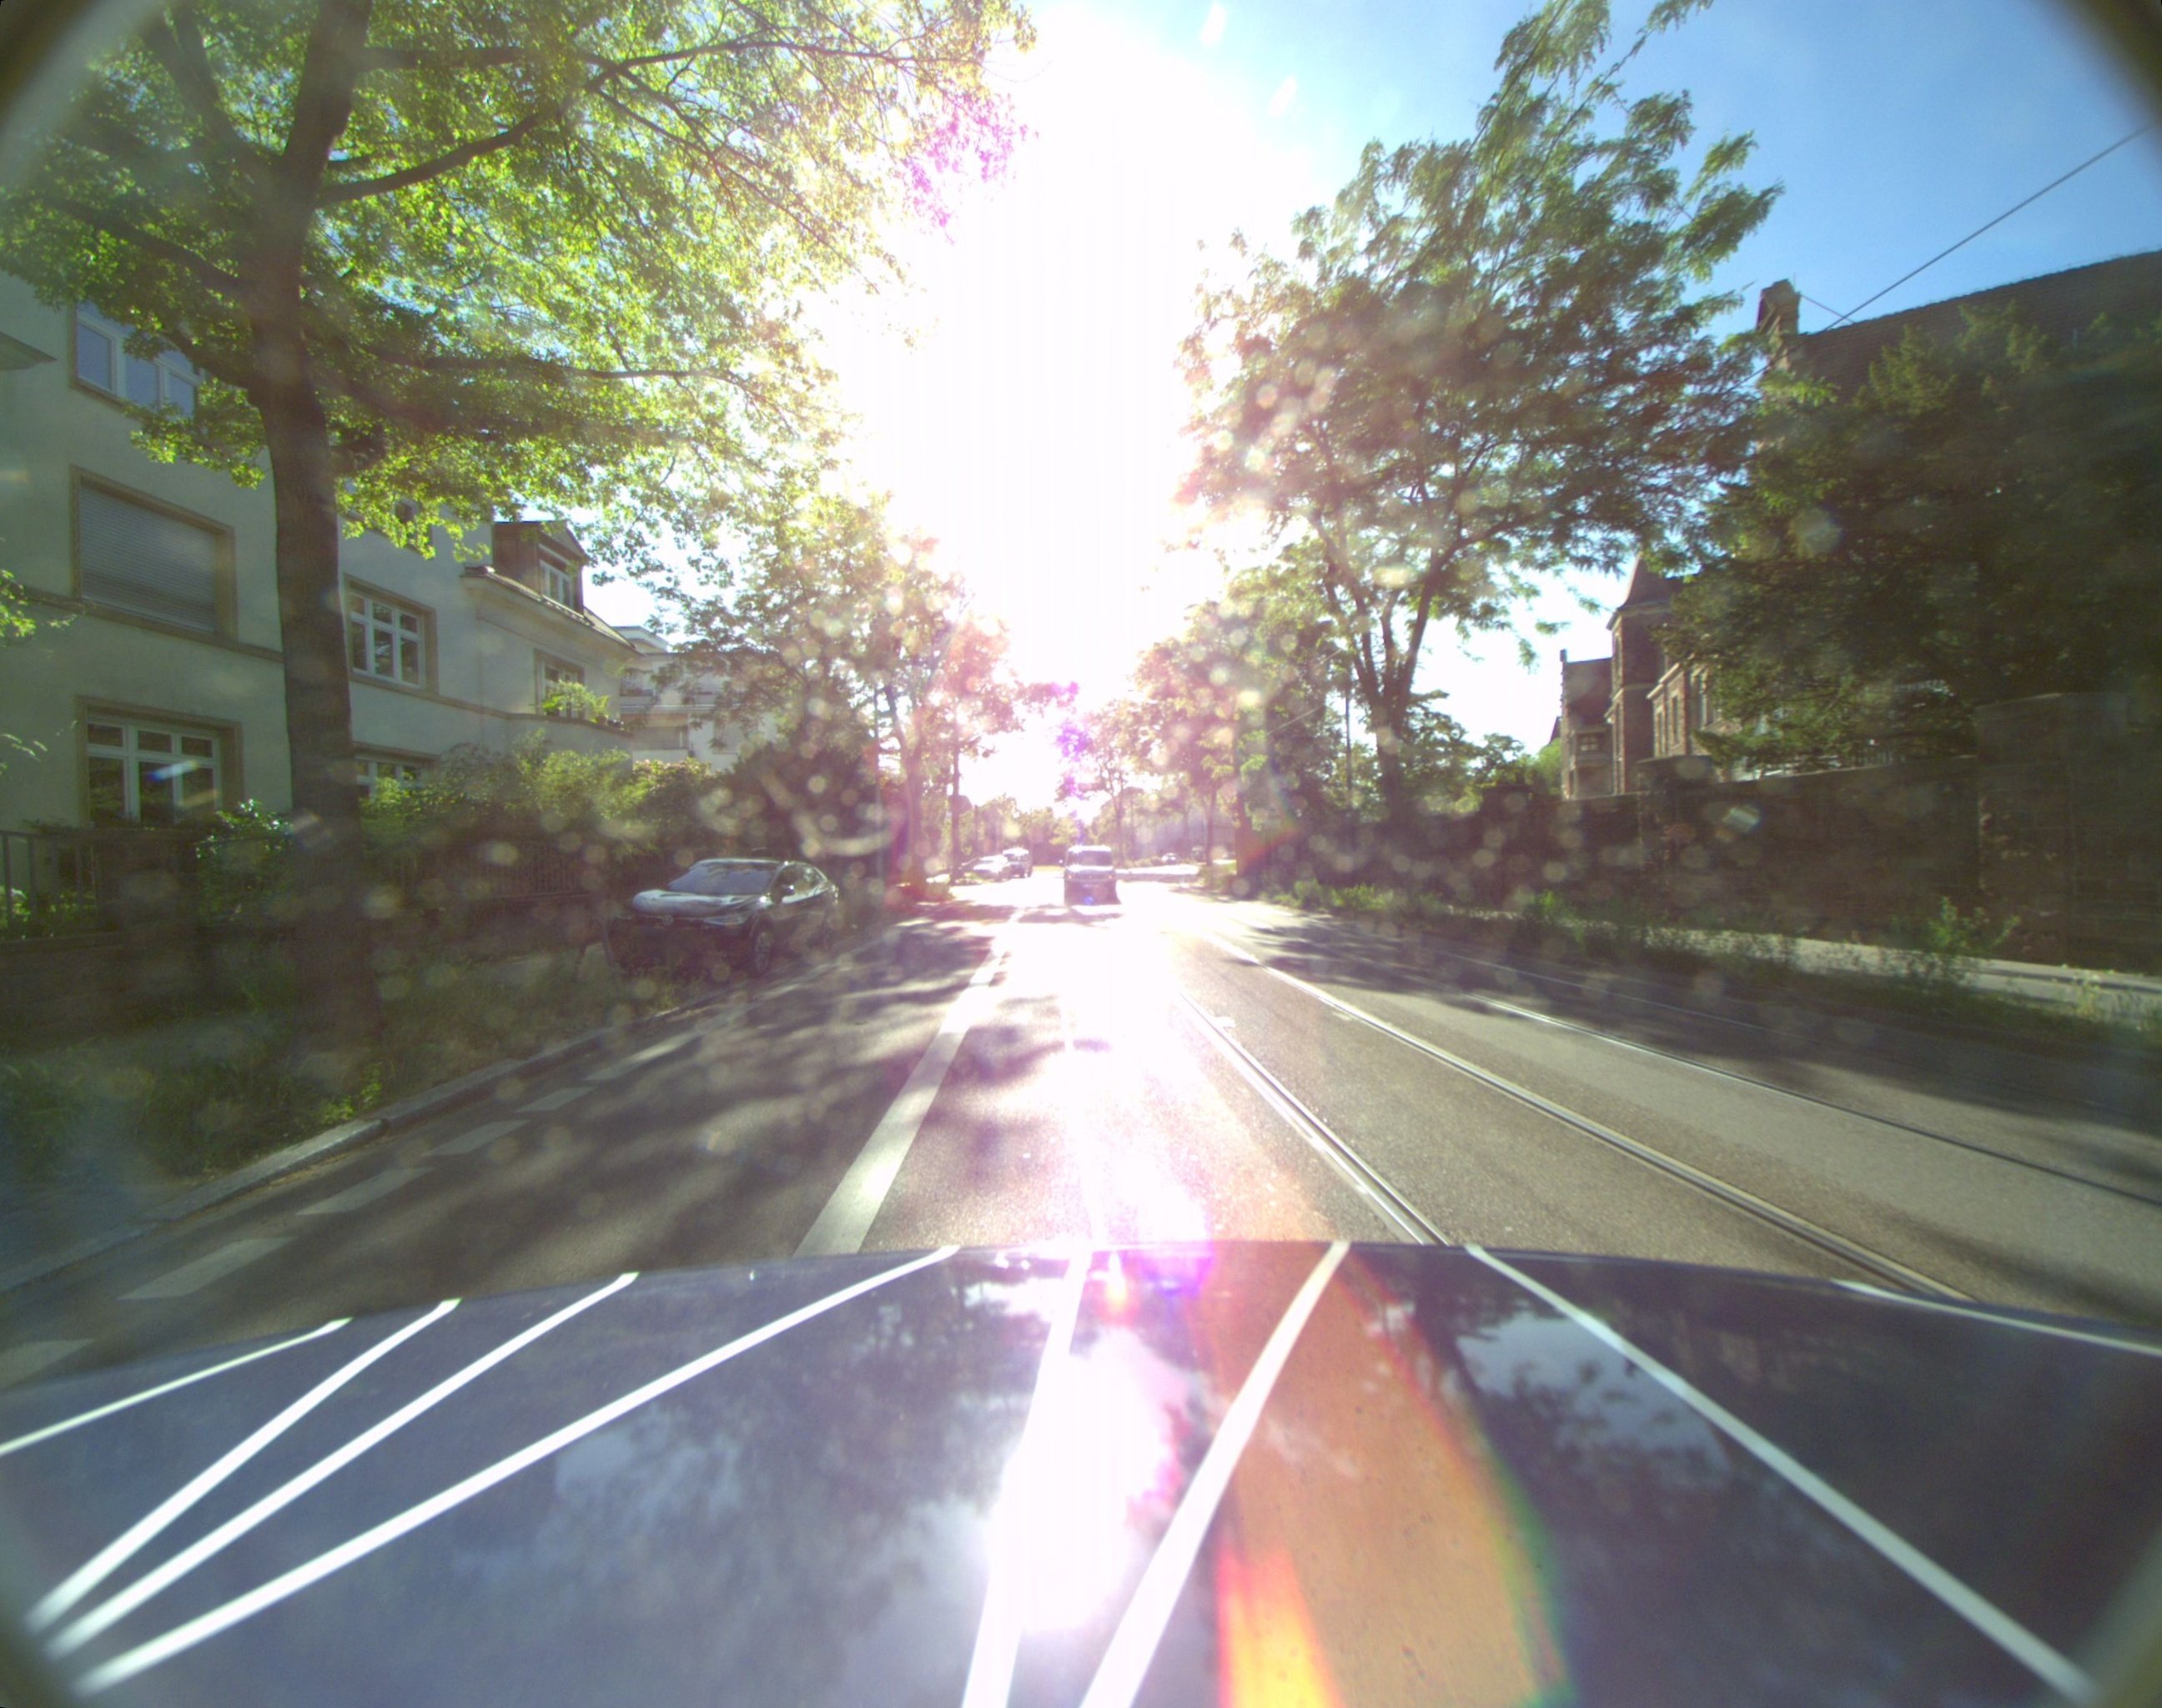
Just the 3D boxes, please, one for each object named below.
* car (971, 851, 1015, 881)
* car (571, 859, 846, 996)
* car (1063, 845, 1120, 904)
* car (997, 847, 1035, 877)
[{"bbox_3d":[-5.185,0.671,45.219,1.823,1.630,4.001,-2,0,4],"label":"car"},{"bbox_3d":[-5.259,0.937,11.537,1.999,1.665,4.380,1,-1,0],"label":"car"},{"bbox_3d":[0.325,0.649,26.231,1.768,1.812,3.999,-2,0,0],"label":"car"},{"bbox_3d":[-4.370,0.511,51.771,2.129,1.884,4.746,-2,0,1],"label":"car"}]
